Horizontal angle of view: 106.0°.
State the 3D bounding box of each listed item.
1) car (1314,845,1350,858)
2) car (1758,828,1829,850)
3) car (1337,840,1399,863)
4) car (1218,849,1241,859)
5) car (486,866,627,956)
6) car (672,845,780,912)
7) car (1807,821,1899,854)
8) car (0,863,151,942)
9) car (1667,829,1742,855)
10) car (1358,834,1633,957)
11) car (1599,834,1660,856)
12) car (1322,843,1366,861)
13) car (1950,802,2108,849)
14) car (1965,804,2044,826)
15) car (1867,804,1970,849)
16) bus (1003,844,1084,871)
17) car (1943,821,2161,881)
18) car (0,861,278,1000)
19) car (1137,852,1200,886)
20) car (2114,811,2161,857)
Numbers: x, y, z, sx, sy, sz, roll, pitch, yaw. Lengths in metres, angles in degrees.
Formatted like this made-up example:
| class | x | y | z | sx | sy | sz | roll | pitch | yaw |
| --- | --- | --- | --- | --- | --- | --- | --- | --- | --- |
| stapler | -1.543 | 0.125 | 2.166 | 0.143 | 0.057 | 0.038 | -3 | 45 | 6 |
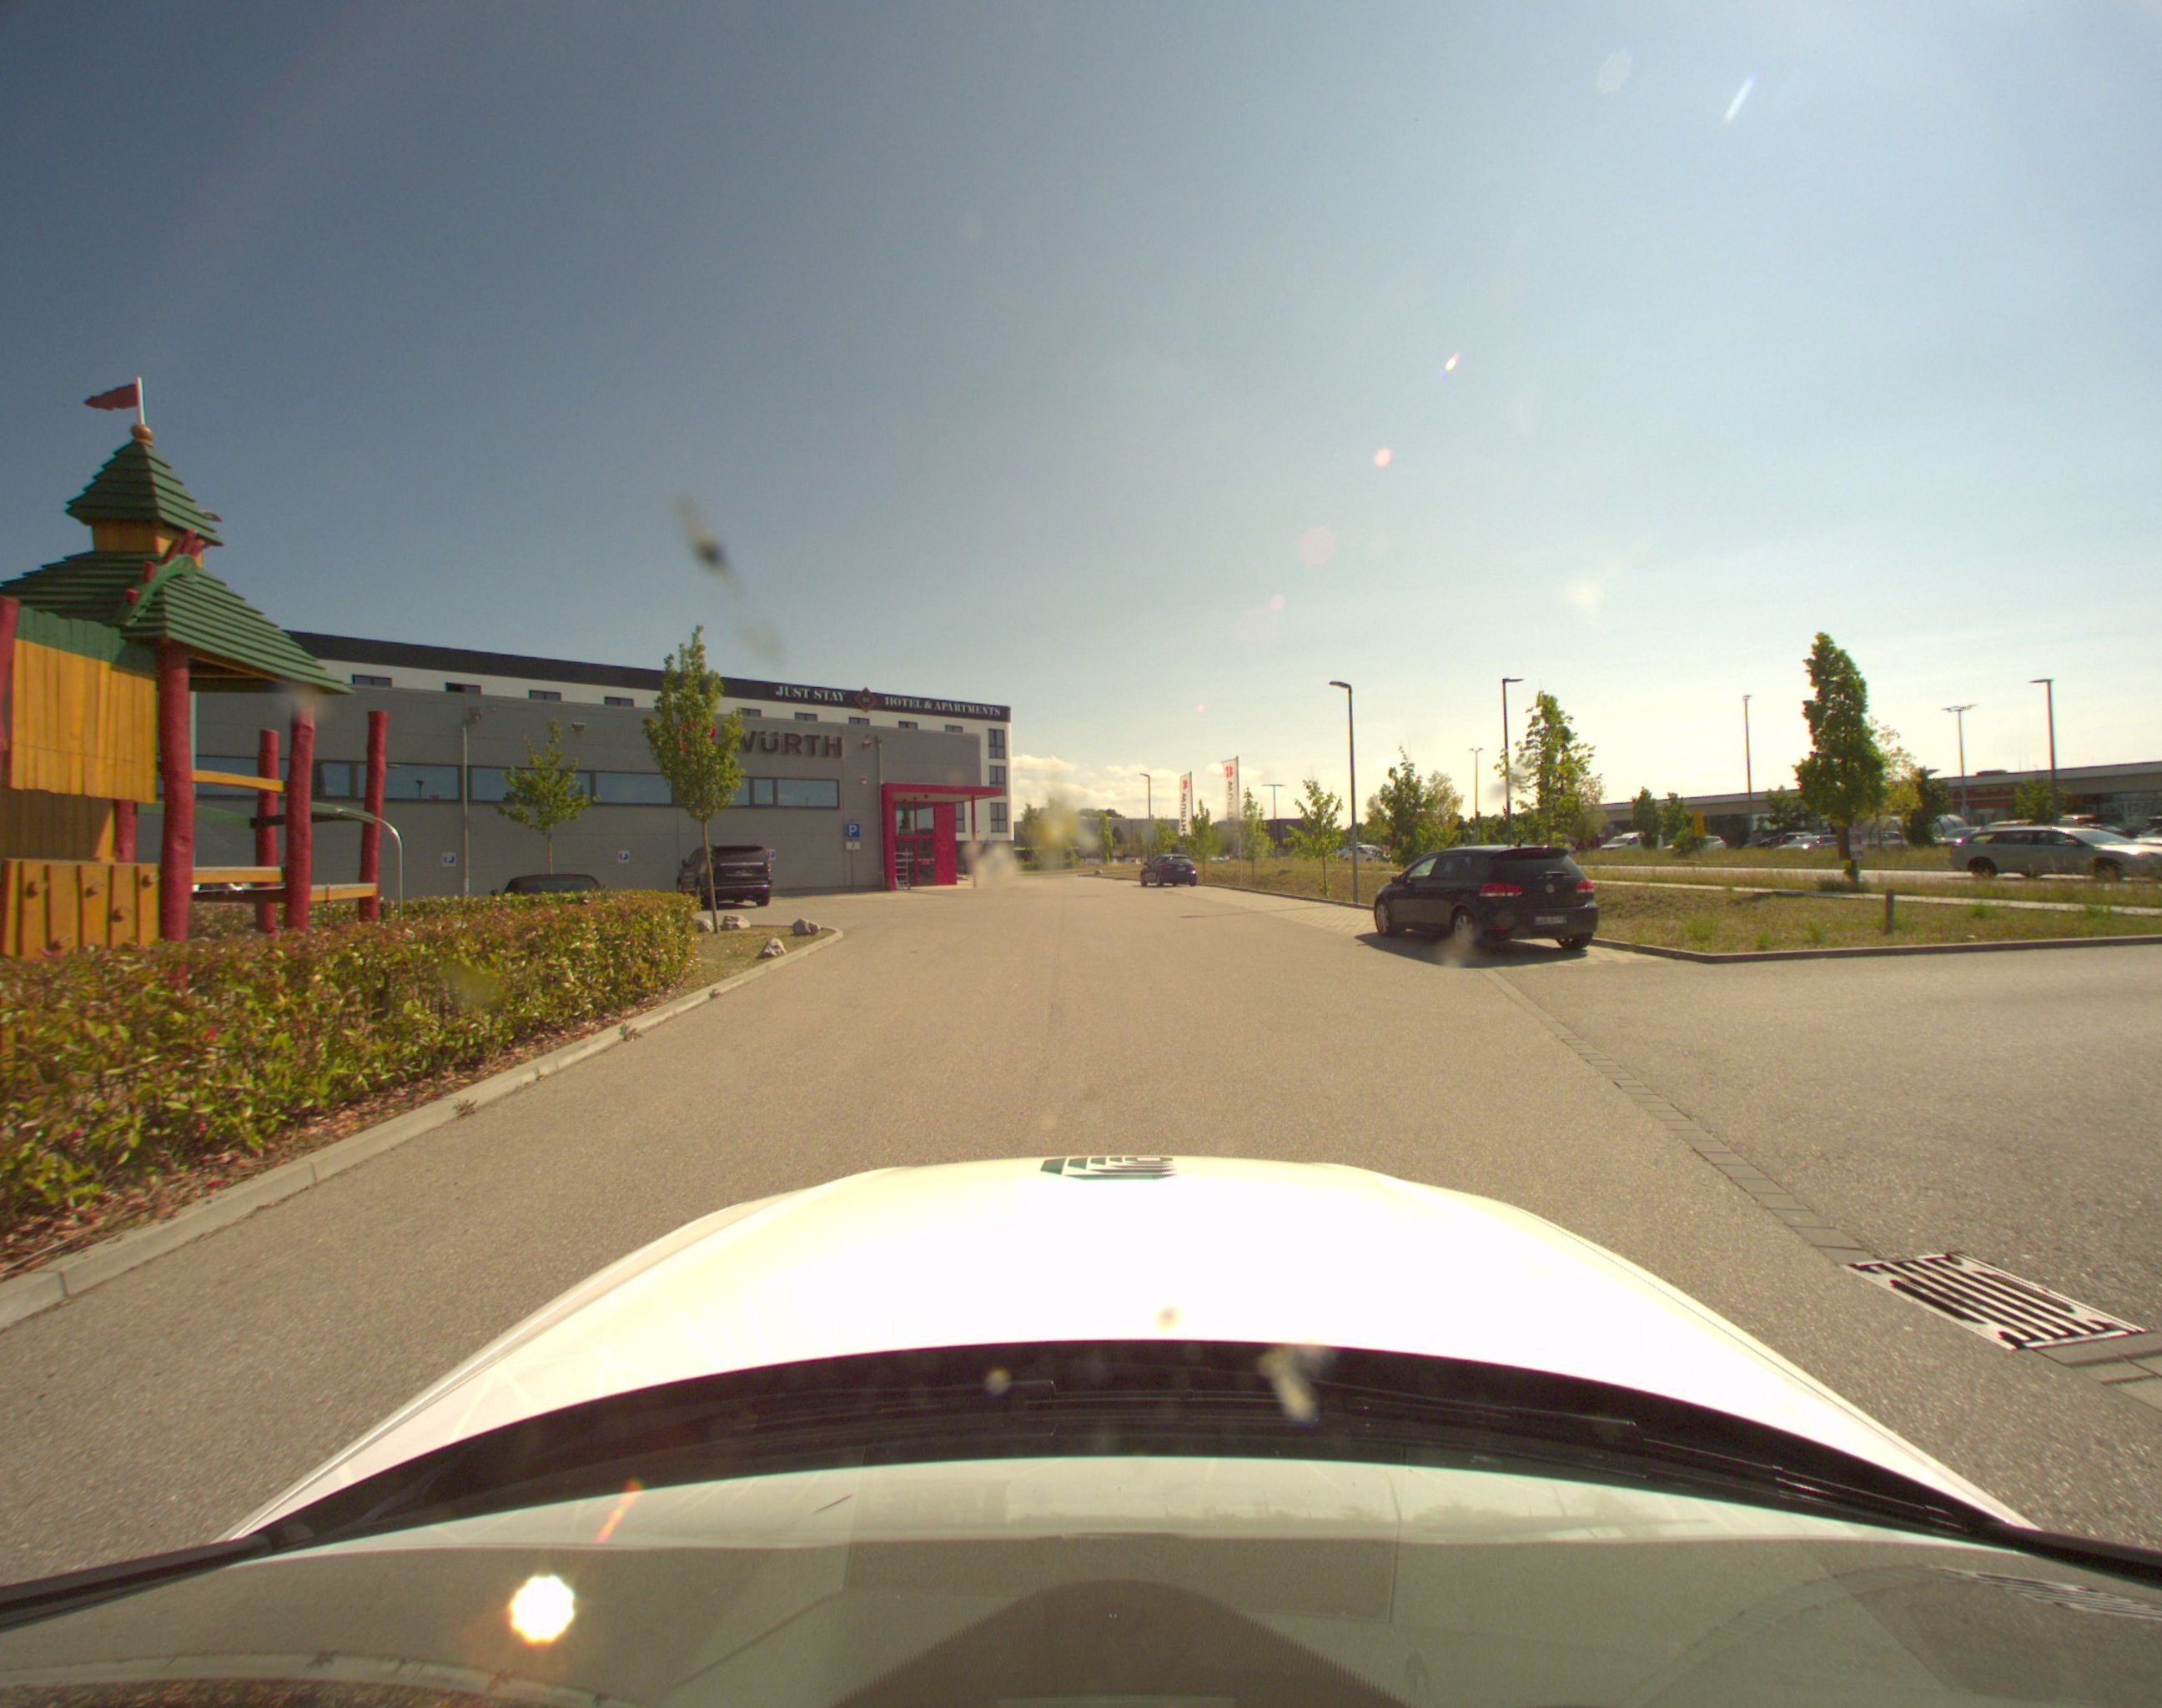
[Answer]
| class | x | y | z | sx | sy | sz | roll | pitch | yaw |
| --- | --- | --- | --- | --- | --- | --- | --- | --- | --- |
| car | 27.261 | -0.271 | 88.505 | 3.727 | 1.395 | 1.574 | -2 | 0 | -30 |
| car | 55.194 | -1.115 | 63.142 | 1.906 | 1.618 | 3.659 | -1 | 0 | -19 |
| car | 20.091 | -0.176 | 57.165 | 1.881 | 1.483 | 3.968 | -1 | 0 | -24 |
| car | 26.702 | -0.017 | 146.416 | 3.974 | 1.658 | 1.887 | -2 | 0 | -34 |
| car | -9.928 | 0.940 | 15.259 | 1.877 | 1.362 | 4.327 | -2 | 1 | -37 |
| car | -11.357 | 0.695 | 25.847 | 2.087 | 1.880 | 4.825 | -1 | 1 | -36 |
| car | 49.345 | -1.048 | 52.062 | 5.071 | 2.013 | 1.989 | -1 | 0 | -17 |
| car | -23.189 | 1.025 | 18.506 | 1.894 | 1.586 | 4.063 | -2 | 1 | -37 |
| car | 45.131 | -0.866 | 59.012 | 4.415 | 1.726 | 1.991 | -1 | 0 | -14 |
| car | 6.048 | 0.529 | 12.530 | 1.833 | 1.477 | 4.113 | -3 | 0 | -5 |
| car | 42.722 | -0.670 | 63.473 | 3.654 | 1.618 | 1.836 | -1 | 0 | -7 |
| car | 24.076 | -0.192 | 74.584 | 3.674 | 1.597 | 1.700 | -1 | 0 | -26 |
| car | 49.165 | -1.472 | 42.282 | 6.298 | 2.237 | 2.804 | -1 | 0 | -13 |
| car | 66.085 | -2.804 | 58.360 | 1.432 | 1.400 | 3.463 | -1 | 0 | -19 |
| car | 47.804 | -1.550 | 46.518 | 5.071 | 2.455 | 1.989 | -1 | 0 | -17 |
| bus | -5.270 | 0.503 | 115.606 | 11.243 | 3.557 | 2.560 | -1 | 0 | -18 |
| car | 27.312 | -0.110 | 22.518 | 1.870 | 1.483 | 4.595 | -1 | 0 | -5 |
| car | -13.175 | 0.895 | 11.322 | 1.961 | 1.530 | 4.332 | -1 | 1 | -32 |
| car | 3.897 | 0.647 | 36.746 | 1.700 | 1.406 | 3.880 | -1 | 0 | -12 |
| car | 49.690 | -0.941 | 36.805 | 5.174 | 2.013 | 1.989 | -1 | 0 | -17 |
